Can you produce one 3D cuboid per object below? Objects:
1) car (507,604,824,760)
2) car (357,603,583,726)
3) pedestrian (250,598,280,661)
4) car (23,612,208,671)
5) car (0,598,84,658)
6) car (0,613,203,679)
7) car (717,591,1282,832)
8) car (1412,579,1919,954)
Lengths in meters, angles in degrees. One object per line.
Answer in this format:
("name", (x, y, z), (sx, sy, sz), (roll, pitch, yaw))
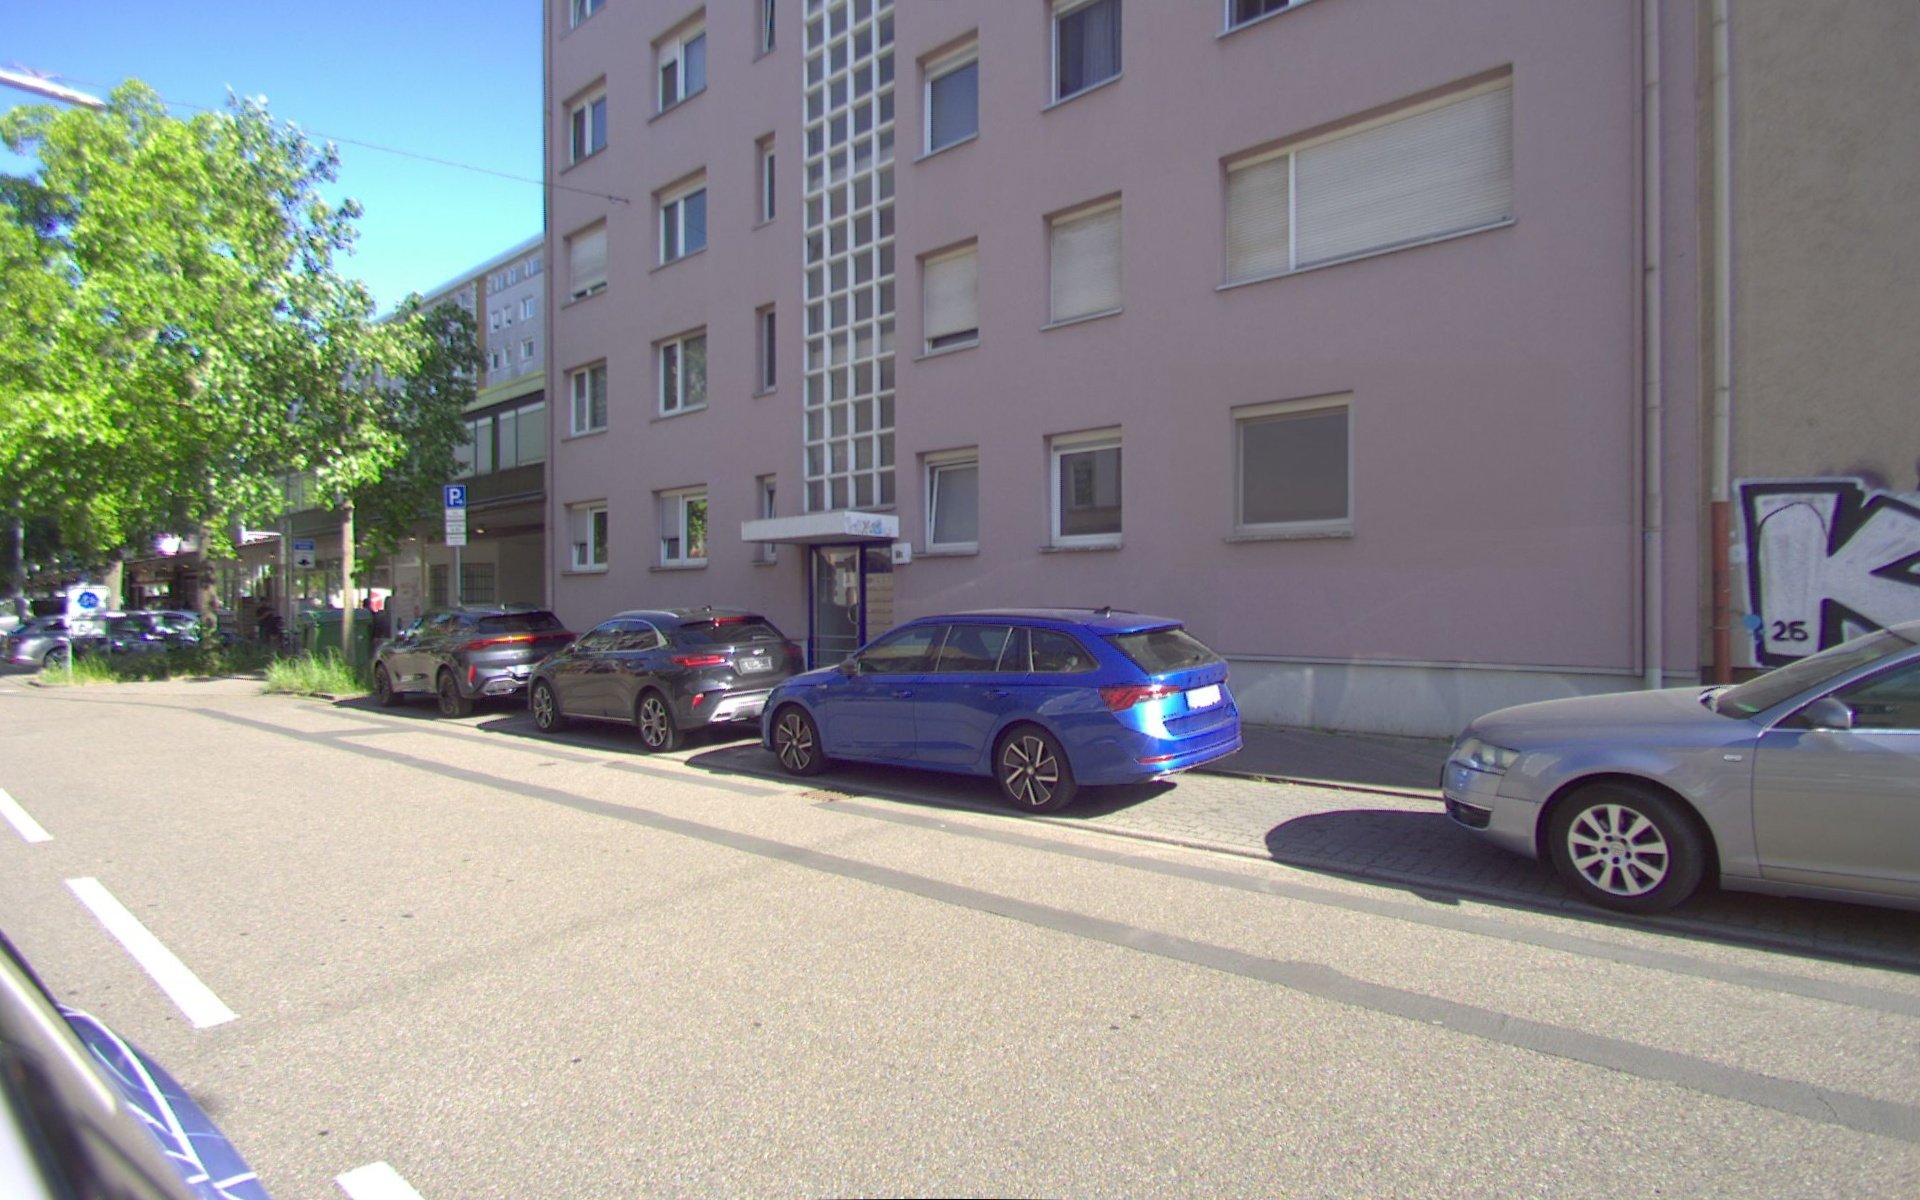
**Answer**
("car", (-3.642, 0.844, 12.103), (4.157, 1.478, 1.704), (-1, 1, 43))
("car", (-7.680, 0.901, 15.675), (4.157, 1.588, 1.704), (-1, 1, 43))
("pedestrian", (-20.117, 0.843, 29.283), (0.502, 1.820, 0.615), (-1, -1, 42))
("car", (-24.438, 1.157, 29.363), (1.913, 1.564, 3.943), (-1, -1, 43))
("car", (-33.445, 0.985, 35.593), (1.913, 2.058, 3.824), (-1, -1, 43))
("car", (-22.507, 1.136, 26.589), (1.913, 1.564, 3.943), (-1, -1, 43))
("car", (0.111, 0.751, 8.815), (4.797, 1.514, 1.805), (-1, 1, 40))
("car", (4.860, 0.674, 4.605), (4.797, 1.514, 1.805), (-1, 1, 40))
